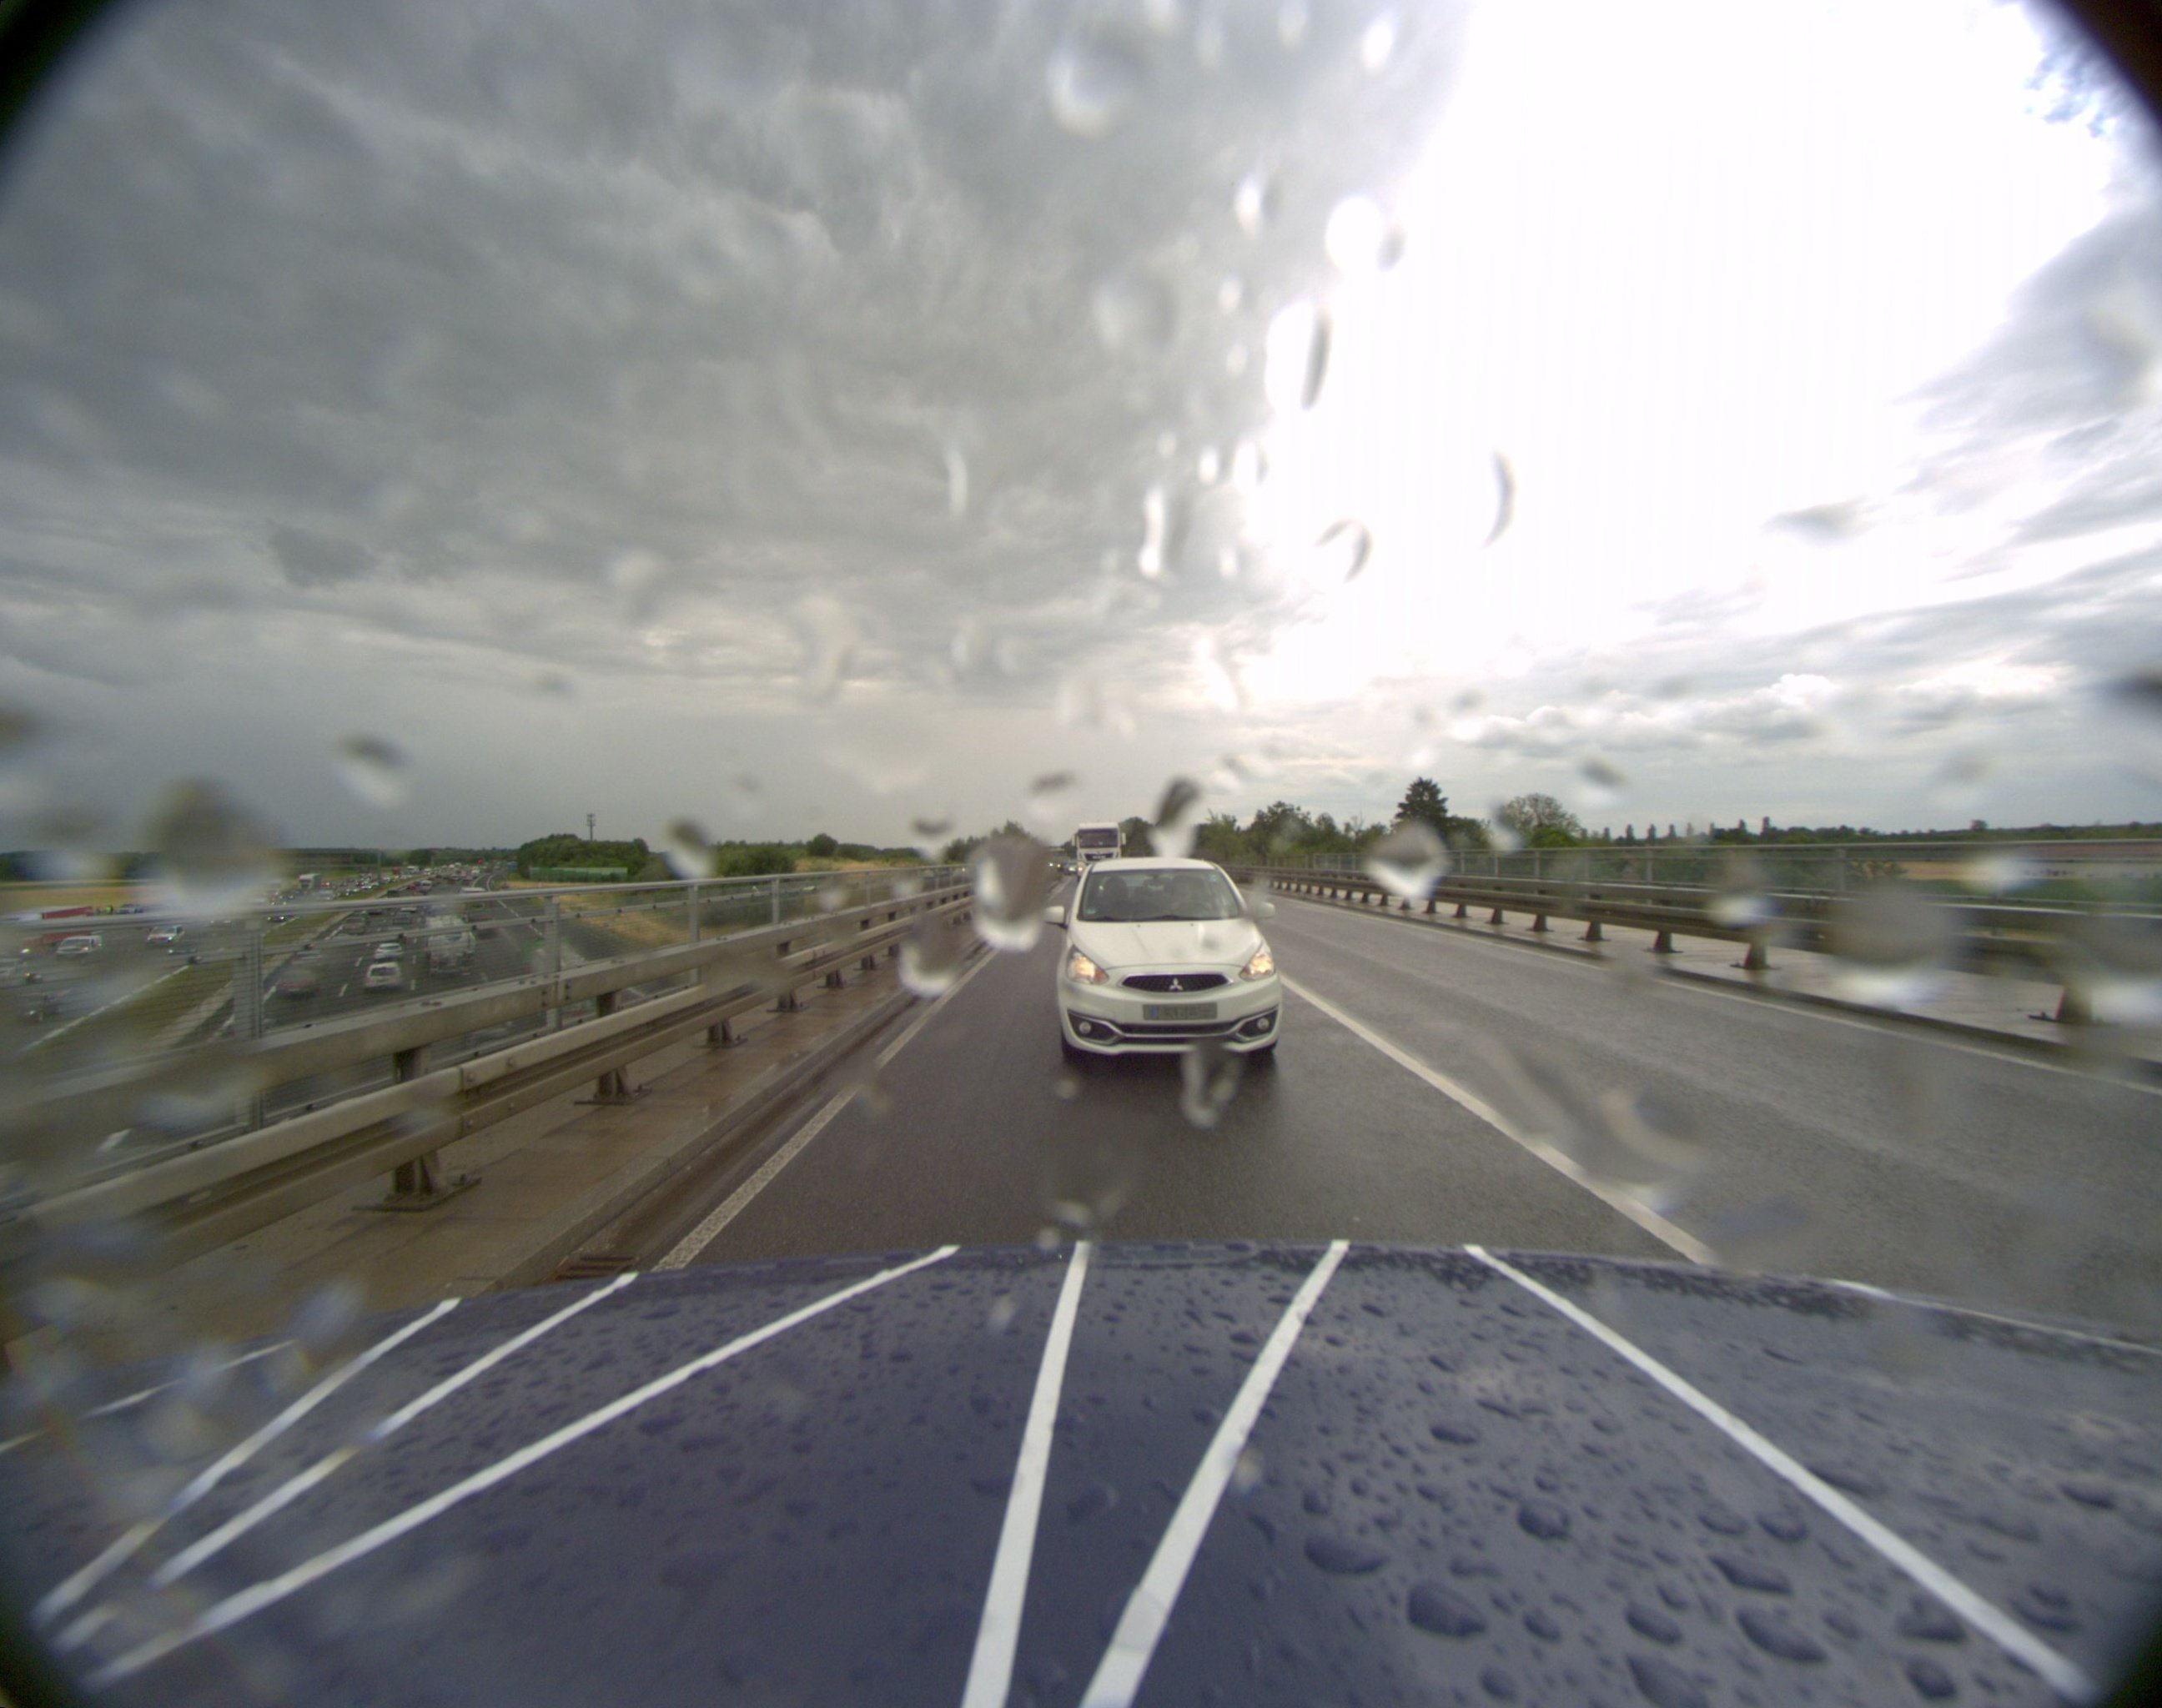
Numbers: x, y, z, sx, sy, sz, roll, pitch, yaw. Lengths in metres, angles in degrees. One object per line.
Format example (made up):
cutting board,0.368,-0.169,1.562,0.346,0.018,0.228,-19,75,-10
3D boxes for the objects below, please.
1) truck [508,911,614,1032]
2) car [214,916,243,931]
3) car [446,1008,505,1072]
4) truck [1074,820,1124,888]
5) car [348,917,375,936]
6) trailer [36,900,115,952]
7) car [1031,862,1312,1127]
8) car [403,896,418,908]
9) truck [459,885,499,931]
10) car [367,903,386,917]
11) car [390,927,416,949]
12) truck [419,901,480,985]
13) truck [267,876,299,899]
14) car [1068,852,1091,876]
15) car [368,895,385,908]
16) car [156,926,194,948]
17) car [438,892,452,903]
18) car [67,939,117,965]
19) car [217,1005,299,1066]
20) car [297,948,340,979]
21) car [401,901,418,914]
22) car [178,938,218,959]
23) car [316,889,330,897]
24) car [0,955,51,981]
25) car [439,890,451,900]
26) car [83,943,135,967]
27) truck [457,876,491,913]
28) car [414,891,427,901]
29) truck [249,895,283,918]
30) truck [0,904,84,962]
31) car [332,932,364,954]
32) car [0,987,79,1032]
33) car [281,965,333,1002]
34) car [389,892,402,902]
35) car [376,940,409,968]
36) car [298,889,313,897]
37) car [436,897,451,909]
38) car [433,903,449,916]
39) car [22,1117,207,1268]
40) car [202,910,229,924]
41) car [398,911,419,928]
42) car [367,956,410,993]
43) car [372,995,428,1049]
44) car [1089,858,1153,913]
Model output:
truck,-31.162,6.414,45.061,3.302,5.135,15.588,-3,1,-40
car,-114.412,9.325,102.006,1.818,1.659,4.711,-3,1,-40
car,-26.849,8.152,33.640,1.860,1.659,4.712,-3,1,-40
truck,0.967,-0.184,45.608,2.631,3.537,8.473,-2,3,0
car,-82.758,8.352,87.467,1.860,1.764,4.712,-3,1,-40
trailer,-104.366,7.335,79.032,2.691,4.602,9.882,-3,1,-40
car,0.586,0.895,6.750,1.675,1.476,4.129,-2,1,1
car,-121.641,8.670,137.915,1.860,1.764,4.712,-3,1,-40
truck,-81.216,7.125,102.338,3.499,5.322,15.588,-3,1,-40
car,-109.048,8.673,117.698,1.860,1.764,4.712,-3,1,-40
car,-71.279,8.837,79.911,1.860,1.764,4.712,-3,1,-40
truck,-52.189,6.957,62.692,3.302,5.411,15.588,-3,1,-40
truck,-183.744,7.668,175.063,2.799,4.872,12.723,-3,1,-36
car,-0.101,0.982,74.542,1.998,2.002,3.999,-5,2,1
car,-121.609,8.158,131.190,2.003,2.002,3.989,-7,3,-43
car,-96.255,8.812,80.749,1.818,1.836,4.711,-3,1,-41
car,-122.812,8.362,146.737,1.860,1.764,4.712,-3,1,-40
car,-90.968,8.985,69.925,1.818,1.873,4.711,-3,1,-41
car,-37.564,8.201,34.803,1.860,1.659,4.712,-3,1,-40
car,-60.103,8.622,59.943,1.860,1.764,4.712,-3,1,-40
car,-108.781,8.696,123.190,1.860,1.764,4.712,-3,1,-40
car,-84.626,9.074,72.876,1.818,1.428,4.711,-3,1,-41
car,-174.429,8.892,174.926,1.860,1.659,4.712,-3,1,-40
car,-81.734,8.798,58.511,1.818,1.428,4.711,-3,1,-41
car,-134.156,8.631,160.226,1.860,1.764,4.712,-3,1,-40
car,-83.007,8.623,64.926,1.818,1.428,4.711,-3,1,-41
truck,-96.862,6.299,121.116,3.499,5.322,15.588,-3,1,-40
car,-137.143,8.693,157.808,1.860,1.764,4.712,-3,1,-40
truck,-132.093,8.501,123.196,2.600,3.161,8.373,-3,1,-40
truck,-98.019,7.258,71.615,2.691,4.600,9.727,-3,1,-40
car,-74.445,9.002,77.220,1.860,1.764,4.712,-3,1,-40
car,-60.618,8.984,44.120,1.818,1.659,4.712,-3,1,-39
car,-50.495,8.404,49.671,1.860,1.659,4.712,-3,1,-40
car,-144.992,9.131,160.747,1.860,1.764,4.712,-3,1,-40
car,-60.058,8.693,66.367,1.860,1.764,4.712,-3,1,-40
car,-182.198,9.053,178.592,1.860,1.659,4.712,-3,1,-40
car,-110.048,8.391,131.174,1.860,1.764,4.712,-3,1,-40
car,-99.244,8.617,117.836,1.860,1.764,4.712,-3,1,-40
car,-23.919,8.249,19.034,1.860,1.659,4.712,-3,1,-40
car,-127.220,9.196,111.712,1.818,1.659,4.711,-3,1,-40
car,-89.377,8.692,101.049,1.860,1.764,4.712,-3,1,-40
car,-47.322,8.190,51.983,1.860,1.764,4.712,-3,1,-40
car,-33.974,8.300,38.011,1.860,1.659,4.712,-3,1,-40
car,1.115,0.865,22.767,1.675,1.367,4.129,-2,1,1
